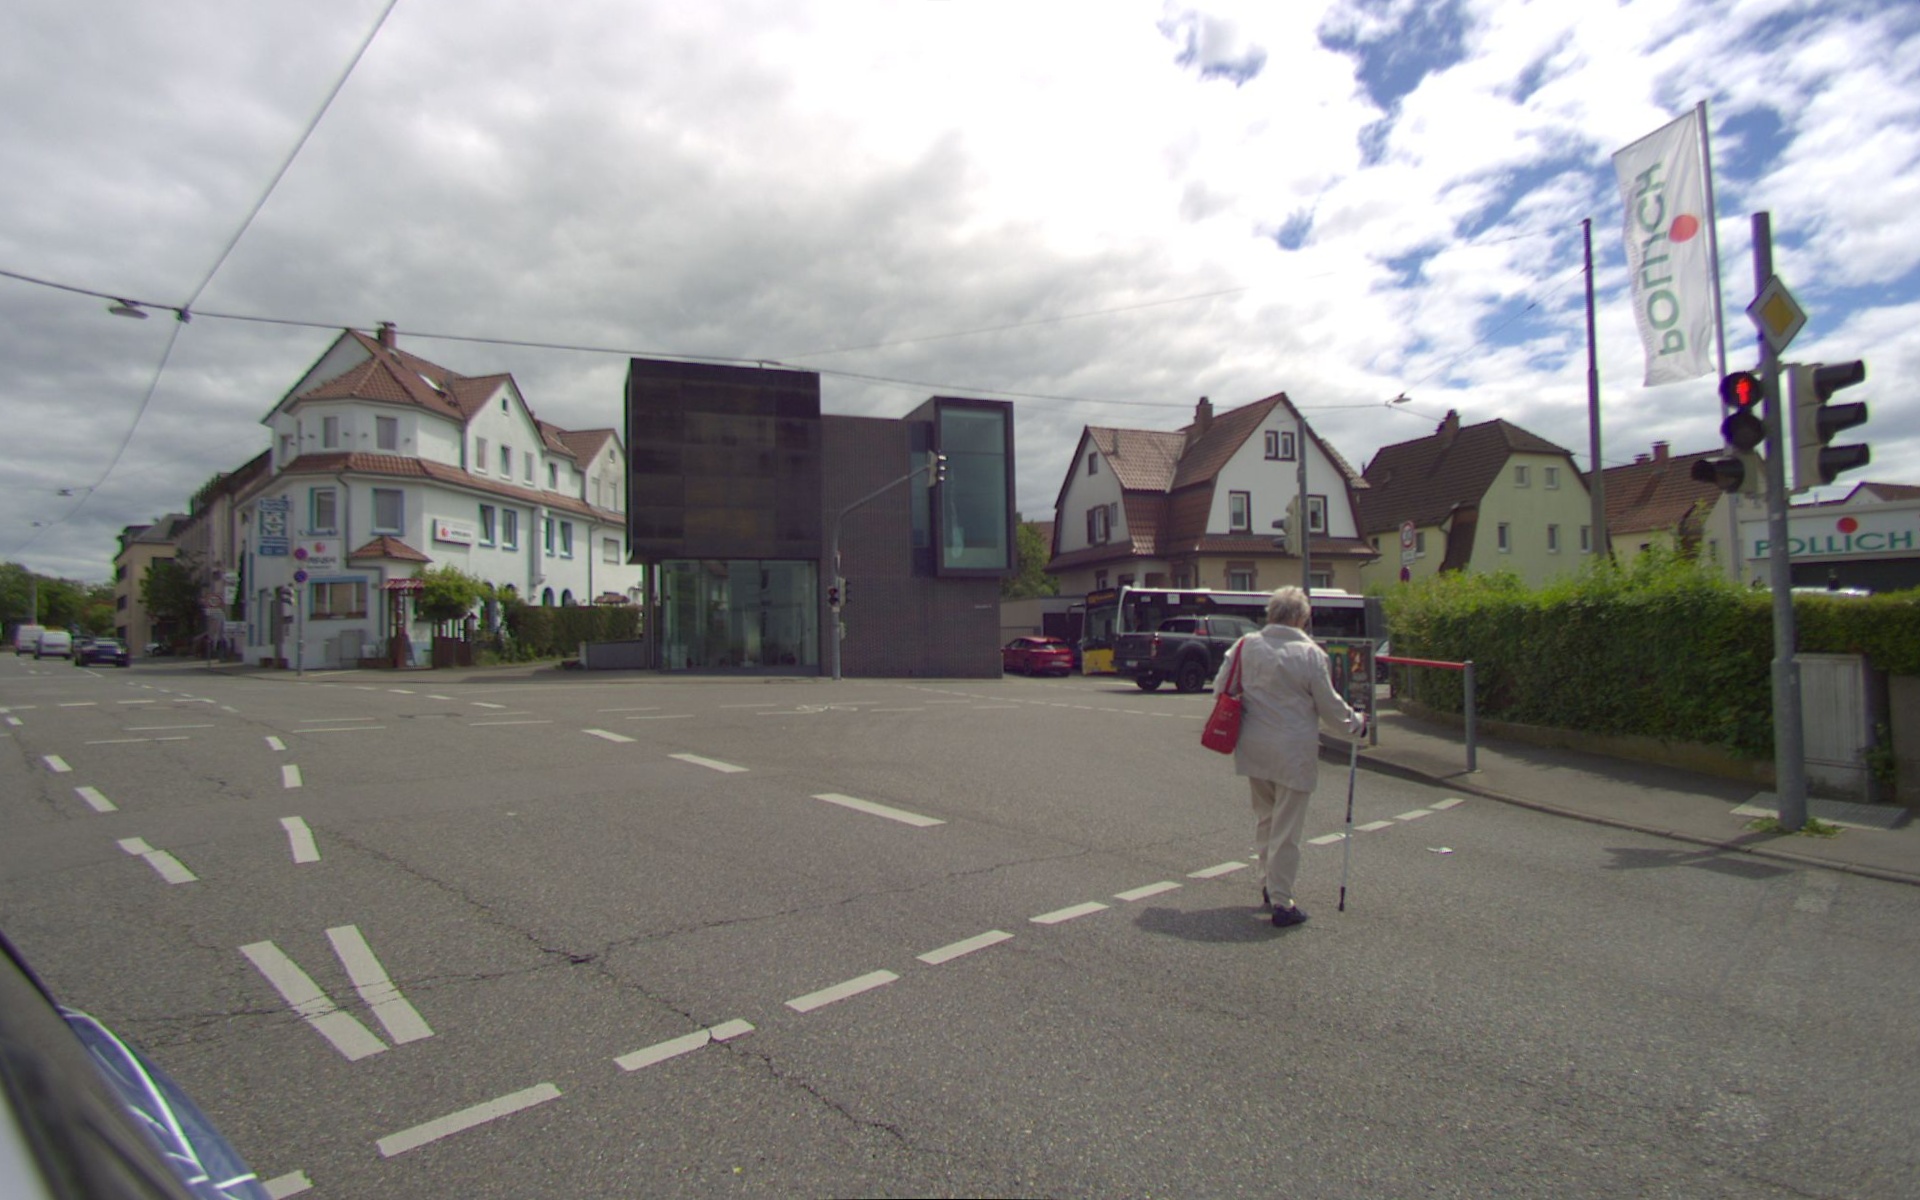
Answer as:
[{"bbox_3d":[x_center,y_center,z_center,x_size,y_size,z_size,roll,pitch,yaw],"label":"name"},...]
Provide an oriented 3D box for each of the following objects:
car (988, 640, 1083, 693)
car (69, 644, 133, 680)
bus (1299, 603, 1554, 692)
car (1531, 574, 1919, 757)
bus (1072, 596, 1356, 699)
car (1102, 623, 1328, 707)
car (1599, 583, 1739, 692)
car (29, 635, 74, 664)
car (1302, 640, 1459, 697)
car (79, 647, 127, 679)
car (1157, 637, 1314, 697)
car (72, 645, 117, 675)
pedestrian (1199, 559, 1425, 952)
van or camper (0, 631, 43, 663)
[{"bbox_3d":[2.842,2.504,38.971,1.965,1.652,4.014,2,1,-24],"label":"car"},{"bbox_3d":[-40.259,2.899,47.402,1.970,1.542,4.004,7,-6,-43],"label":"car"},{"bbox_3d":[16.823,1.724,36.412,9.031,2.937,2.796,1,-3,-22],"label":"bus"},{"bbox_3d":[9.740,0.785,12.789,4.001,1.963,1.971,-2,-4,44],"label":"car"},{"bbox_3d":[8.347,1.570,33.037,9.031,3.084,2.796,1,-3,-22],"label":"bus"},{"bbox_3d":[6.164,1.552,24.454,5.130,1.863,1.894,1,-3,-22],"label":"car"},{"bbox_3d":[15.097,0.825,21.416,1.998,2.029,5.055,-2,-4,39],"label":"car"},{"bbox_3d":[-59.698,3.283,66.468,4.419,1.826,1.795,-4,-6,44],"label":"car"},{"bbox_3d":[12.825,2.074,30.938,4.111,1.652,2.006,1,-3,-20],"label":"car"},{"bbox_3d":[-56.875,4.161,67.173,4.001,2.029,1.971,-3,-4,44],"label":"car"},{"bbox_3d":[7.958,1.913,29.343,3.931,1.652,2.006,1,-3,-20],"label":"car"},{"bbox_3d":[-60.591,4.178,70.811,4.001,2.029,1.971,-3,-4,44],"label":"car"},{"bbox_3d":[1.615,0.670,4.790,0.826,1.650,0.872,1,-2,7],"label":"pedestrian"},{"bbox_3d":[-80.234,4.053,86.346,5.642,2.607,2.085,-3,-7,41],"label":"van or camper"}]
